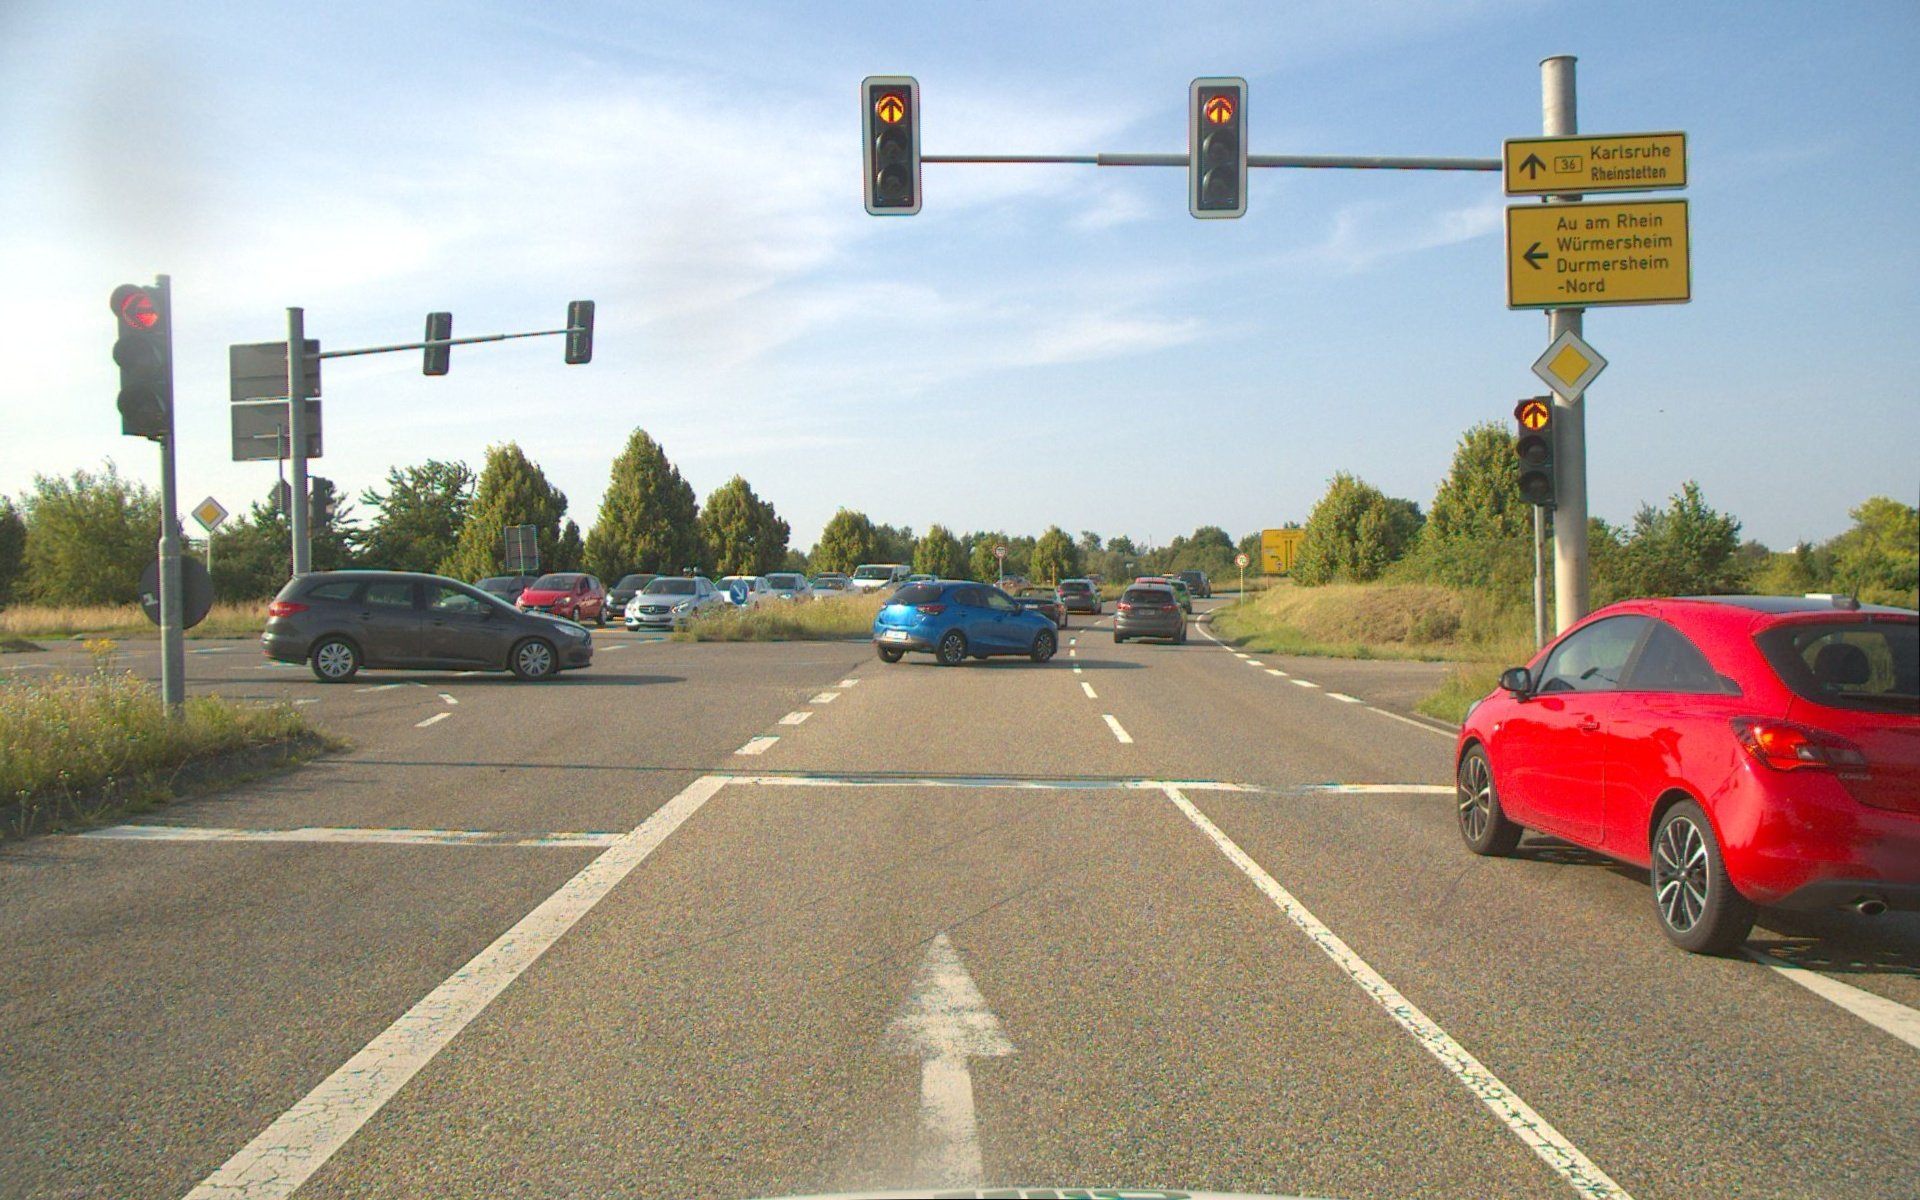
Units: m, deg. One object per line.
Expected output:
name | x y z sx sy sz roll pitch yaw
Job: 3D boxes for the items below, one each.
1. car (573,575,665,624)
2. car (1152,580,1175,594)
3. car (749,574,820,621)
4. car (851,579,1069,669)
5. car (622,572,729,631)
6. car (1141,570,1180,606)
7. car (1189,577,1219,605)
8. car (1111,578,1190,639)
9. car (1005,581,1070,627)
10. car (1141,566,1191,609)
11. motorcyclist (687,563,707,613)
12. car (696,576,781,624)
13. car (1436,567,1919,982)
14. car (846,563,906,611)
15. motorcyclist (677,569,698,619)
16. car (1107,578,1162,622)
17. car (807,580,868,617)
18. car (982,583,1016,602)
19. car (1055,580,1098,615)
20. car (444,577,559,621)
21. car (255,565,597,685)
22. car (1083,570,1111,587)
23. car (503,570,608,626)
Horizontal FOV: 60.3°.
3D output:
car | -10.714 -0.037 52.299 1.748 1.458 4.054 0 0 5
car | 20.297 -1.284 164.924 1.748 1.410 4.055 0 1 14
car | -6.208 -0.109 58.902 1.748 1.596 4.054 0 0 5
car | 0.050 0.390 30.119 1.748 1.518 3.958 1 1 44
car | -7.666 0.020 45.004 1.748 1.514 4.654 0 0 5
car | 11.353 -0.677 93.872 1.869 1.949 4.279 0 -1 3
car | 16.660 -0.596 113.212 1.868 1.764 4.281 0 -1 6
car | 4.773 0.230 41.804 1.874 1.440 3.798 0 -1 5
car | 2.359 0.153 51.210 1.869 1.346 4.278 0 -1 1
car | 9.276 -0.522 74.707 1.869 1.831 4.279 0 -1 2
motorcyclist | -9.825 -0.456 61.793 0.649 1.848 0.605 0 0 -2
car | -7.008 -0.019 52.732 1.748 1.458 4.312 0 0 5
car | 3.815 0.645 8.218 1.663 1.576 3.748 0 0 -3
car | -3.763 -0.585 74.512 1.884 2.114 4.247 0 0 8
motorcyclist | -9.687 -0.220 58.810 0.649 1.778 0.605 0 0 -2
car | 6.601 0.038 62.974 1.855 1.592 4.279 0 -1 3
car | -4.791 -0.086 65.106 1.748 1.410 4.054 0 0 5
car | 2.986 -0.549 126.220 1.748 1.410 4.055 0 1 14
car | 4.973 -0.086 70.734 1.798 1.401 4.280 0 -1 4
car | -14.481 -0.055 52.512 1.406 1.315 4.677 0 1 14
car | -7.514 0.334 23.491 4.448 1.593 1.806 0 0 -19
car | 11.961 -1.856 144.187 1.748 1.410 4.055 0 1 14
car | -11.347 -0.065 46.689 1.684 1.514 3.807 0 0 6
